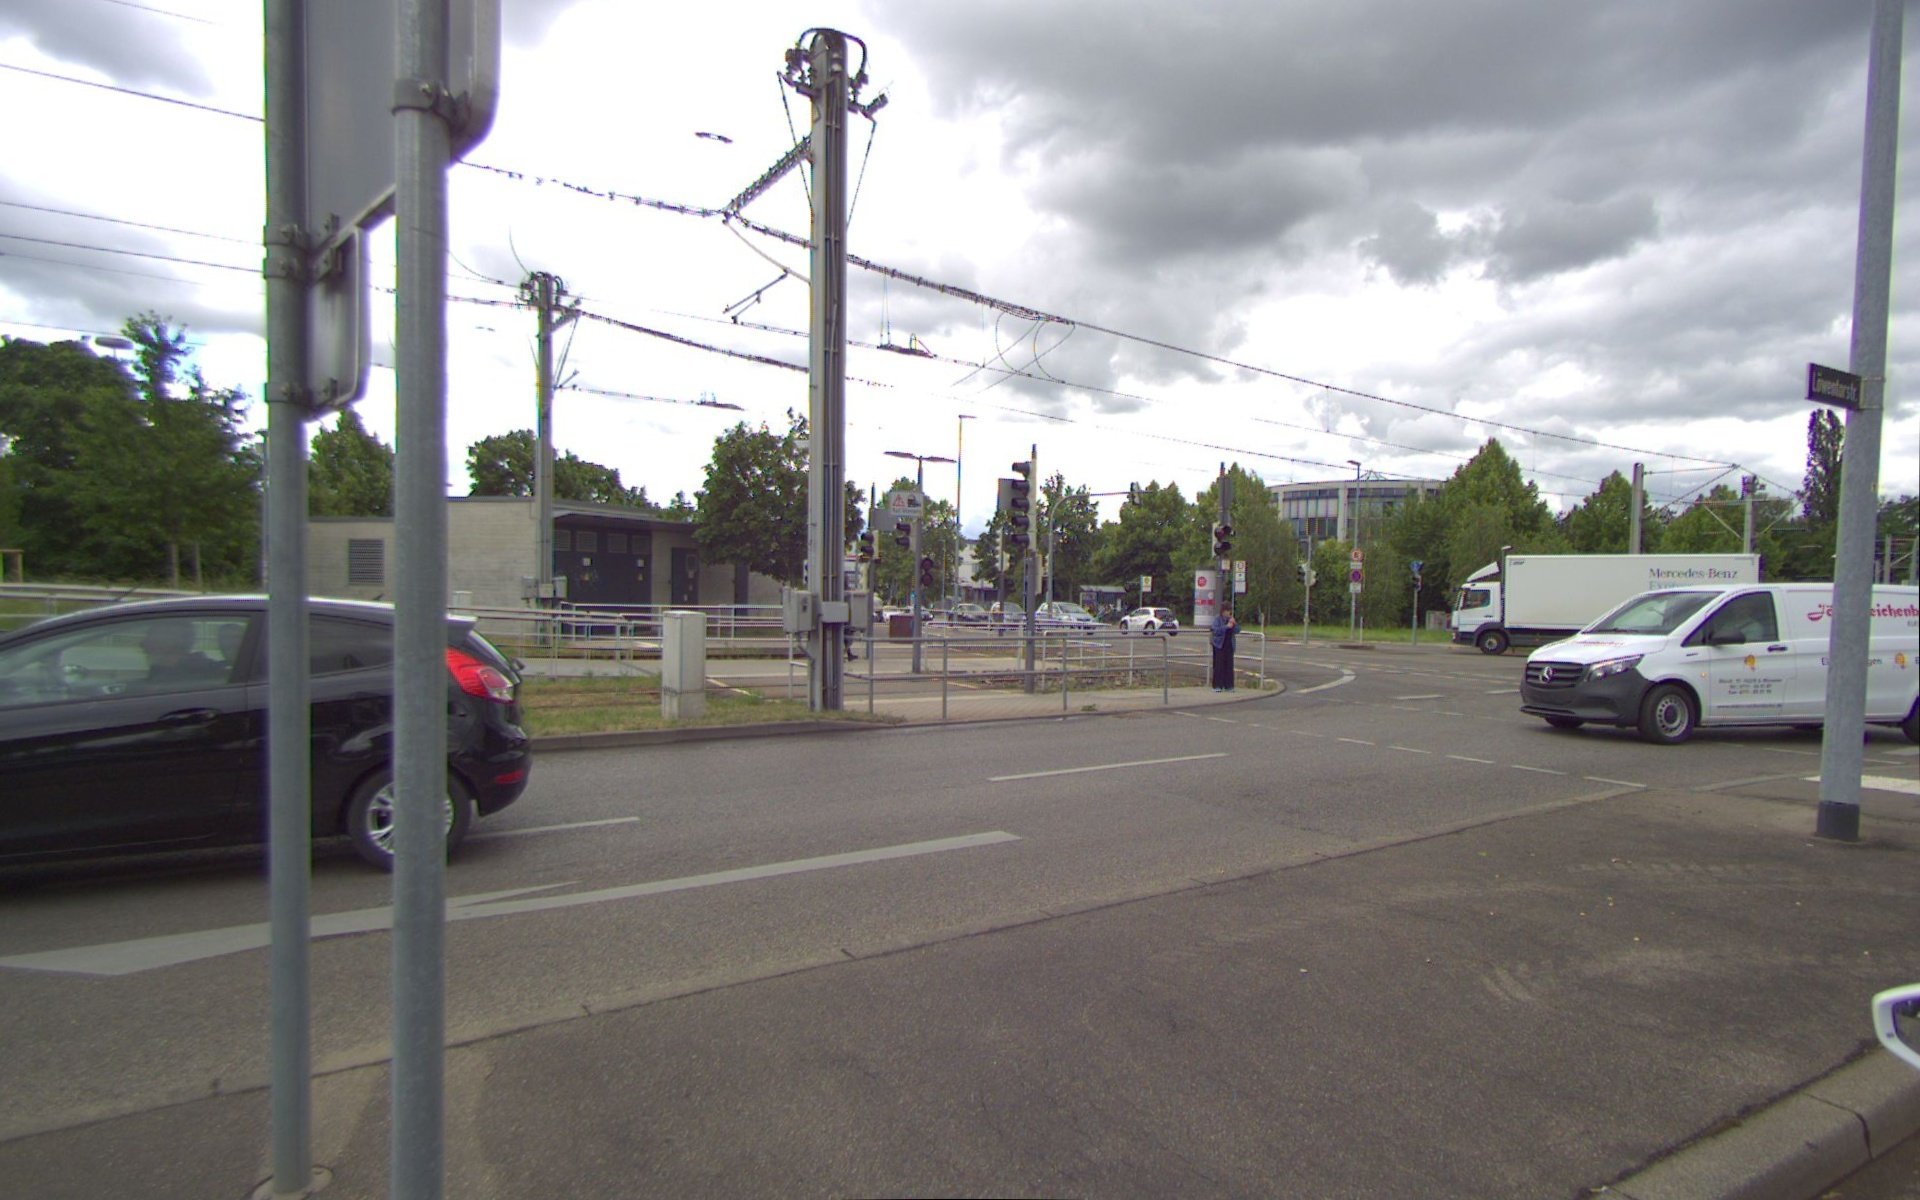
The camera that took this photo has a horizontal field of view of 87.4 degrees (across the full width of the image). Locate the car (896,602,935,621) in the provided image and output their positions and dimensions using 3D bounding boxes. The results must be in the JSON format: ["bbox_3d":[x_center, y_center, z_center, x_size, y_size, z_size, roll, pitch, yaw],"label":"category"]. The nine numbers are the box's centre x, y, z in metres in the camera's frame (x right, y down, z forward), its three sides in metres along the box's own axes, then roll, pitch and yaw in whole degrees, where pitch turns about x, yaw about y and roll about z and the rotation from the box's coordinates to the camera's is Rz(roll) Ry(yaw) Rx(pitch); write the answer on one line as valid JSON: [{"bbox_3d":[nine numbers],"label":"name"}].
[{"bbox_3d":[-3.225,0.810,72.478,1.697,1.327,3.729,1,0,-22],"label":"car"}]

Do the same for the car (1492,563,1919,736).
[{"bbox_3d":[9.807,0.647,12.547,5.332,1.839,2.000,2,-2,-4],"label":"car"}]

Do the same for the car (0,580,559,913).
[{"bbox_3d":[-4.278,0.657,5.470,3.731,1.499,1.627,1,0,-29],"label":"car"}]

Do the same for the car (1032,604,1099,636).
[{"bbox_3d":[4.975,0.937,47.951,1.496,1.395,3.979,1,0,-22],"label":"car"}]

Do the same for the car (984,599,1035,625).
[{"bbox_3d":[2.661,0.659,54.551,1.530,1.327,3.276,1,0,-22],"label":"car"}]

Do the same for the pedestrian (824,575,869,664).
[{"bbox_3d":[-2.441,0.407,21.544,0.785,1.852,0.568,0,1,-33],"label":"pedestrian"}]

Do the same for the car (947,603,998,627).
[{"bbox_3d":[0.699,0.858,59.052,1.698,1.327,3.729,1,0,-22],"label":"car"}]

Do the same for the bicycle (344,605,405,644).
[{"bbox_3d":[-16.362,0.670,28.070,1.762,1.029,0.411,1,1,18],"label":"bicycle"}]

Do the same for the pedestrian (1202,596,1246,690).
[{"bbox_3d":[4.539,0.736,17.272,0.640,1.577,0.354,-2,2,5],"label":"pedestrian"}]

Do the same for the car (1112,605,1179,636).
[{"bbox_3d":[10.139,1.073,55.151,1.757,1.528,3.722,-2,1,-25],"label":"car"}]

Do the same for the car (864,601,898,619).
[{"bbox_3d":[-6.425,0.785,81.223,1.697,1.327,3.729,1,0,-22],"label":"car"}]

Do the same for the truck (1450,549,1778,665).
[{"bbox_3d":[22.596,0.123,35.505,9.326,3.698,2.665,2,1,27],"label":"truck"}]
